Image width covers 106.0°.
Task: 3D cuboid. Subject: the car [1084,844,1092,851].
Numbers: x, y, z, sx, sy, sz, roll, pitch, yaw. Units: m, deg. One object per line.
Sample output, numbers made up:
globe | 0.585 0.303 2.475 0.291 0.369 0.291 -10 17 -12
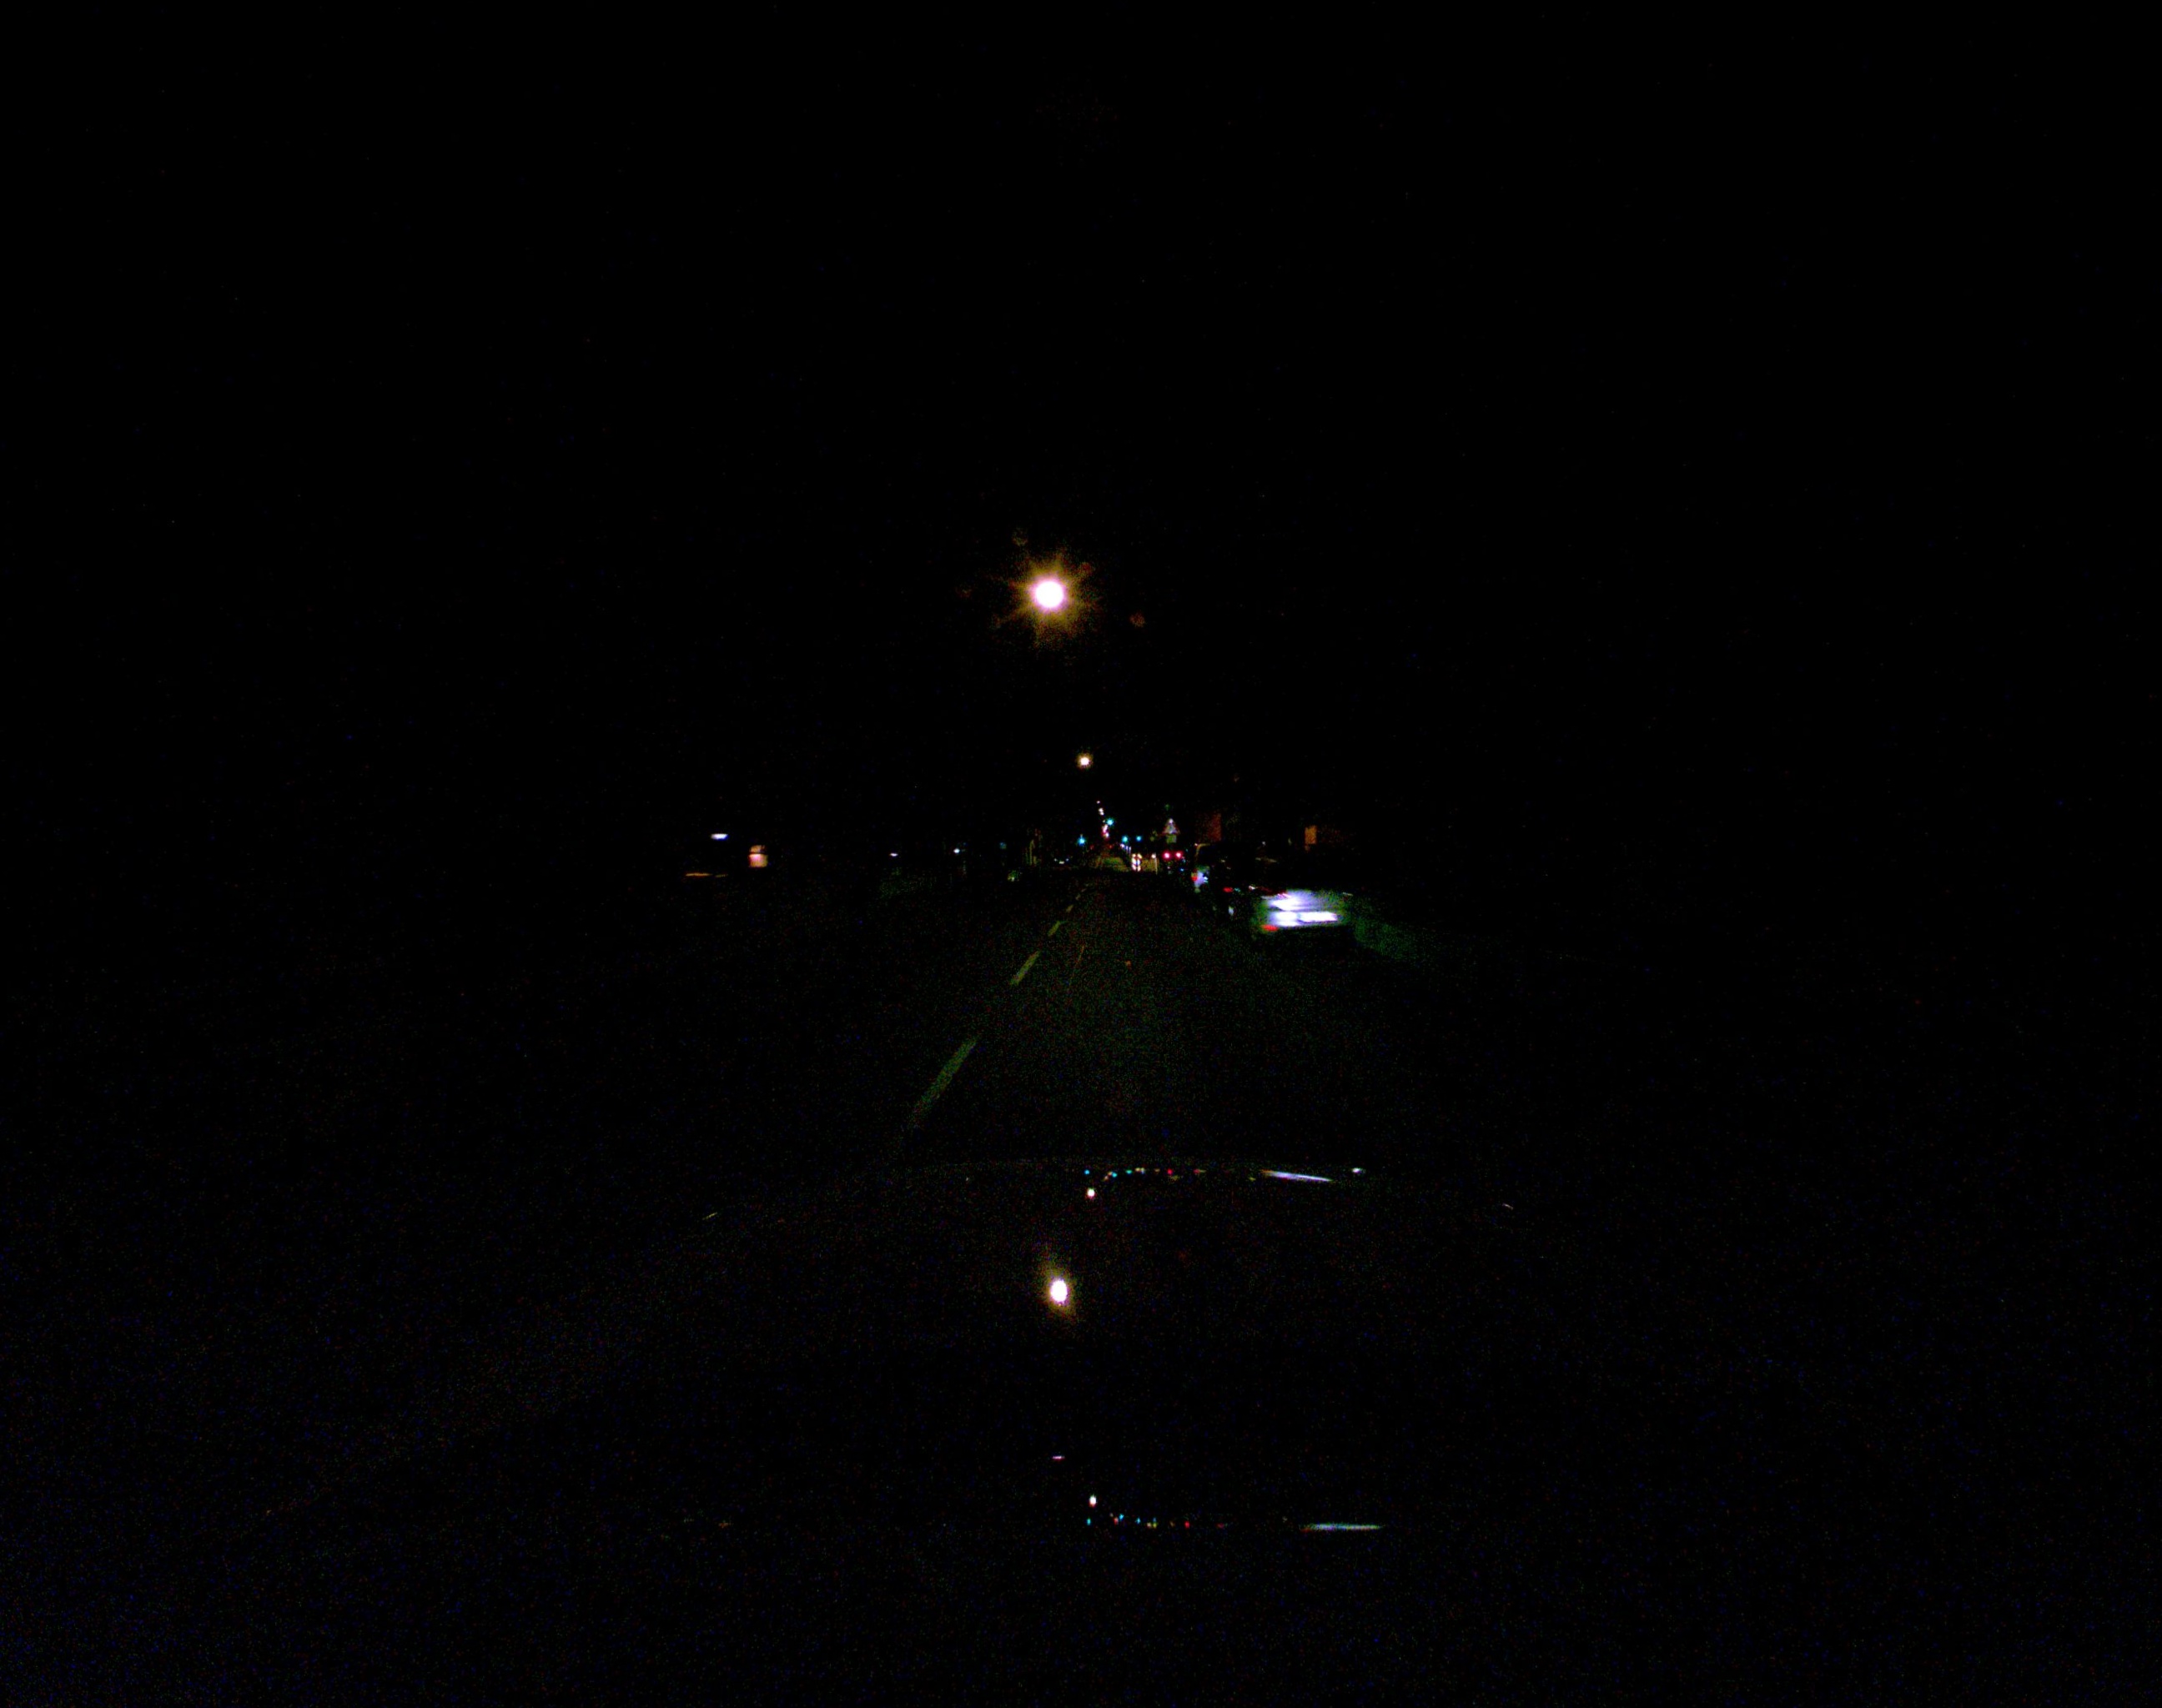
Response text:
car | 1.673 -1.600 202.017 1.866 1.544 4.207 -2 1 2

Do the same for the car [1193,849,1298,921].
car | 3.772 0.648 19.369 1.679 1.421 4.445 -3 0 2

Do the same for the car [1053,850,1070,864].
car | -2.208 0.316 92.455 1.664 1.443 4.207 -2 1 2

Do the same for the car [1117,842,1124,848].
car | 10.469 -2.470 214.839 1.866 1.544 4.207 -2 1 2

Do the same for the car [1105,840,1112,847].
car | 8.514 -3.208 249.593 1.866 1.814 4.208 -2 1 3

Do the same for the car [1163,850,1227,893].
car | 4.161 0.614 30.280 1.722 1.419 4.322 -2 0 0

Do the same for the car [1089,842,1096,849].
car | 3.416 -2.576 244.255 1.866 1.814 4.208 -2 1 3

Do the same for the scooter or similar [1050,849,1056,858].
scooter or similar | -4.057 -0.075 118.543 0.526 1.165 2.508 -4 -1 2

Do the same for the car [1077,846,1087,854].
car | 0.222 -0.757 164.051 1.866 1.544 4.207 -2 1 2

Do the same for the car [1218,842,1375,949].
car | 3.566 0.614 14.196 1.733 1.477 4.003 -5 0 2

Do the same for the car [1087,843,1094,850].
car | 2.749 -2.183 226.304 1.866 1.814 4.207 -2 1 2

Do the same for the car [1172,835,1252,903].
car | 3.945 0.417 25.228 1.729 1.855 4.316 -3 0 0
